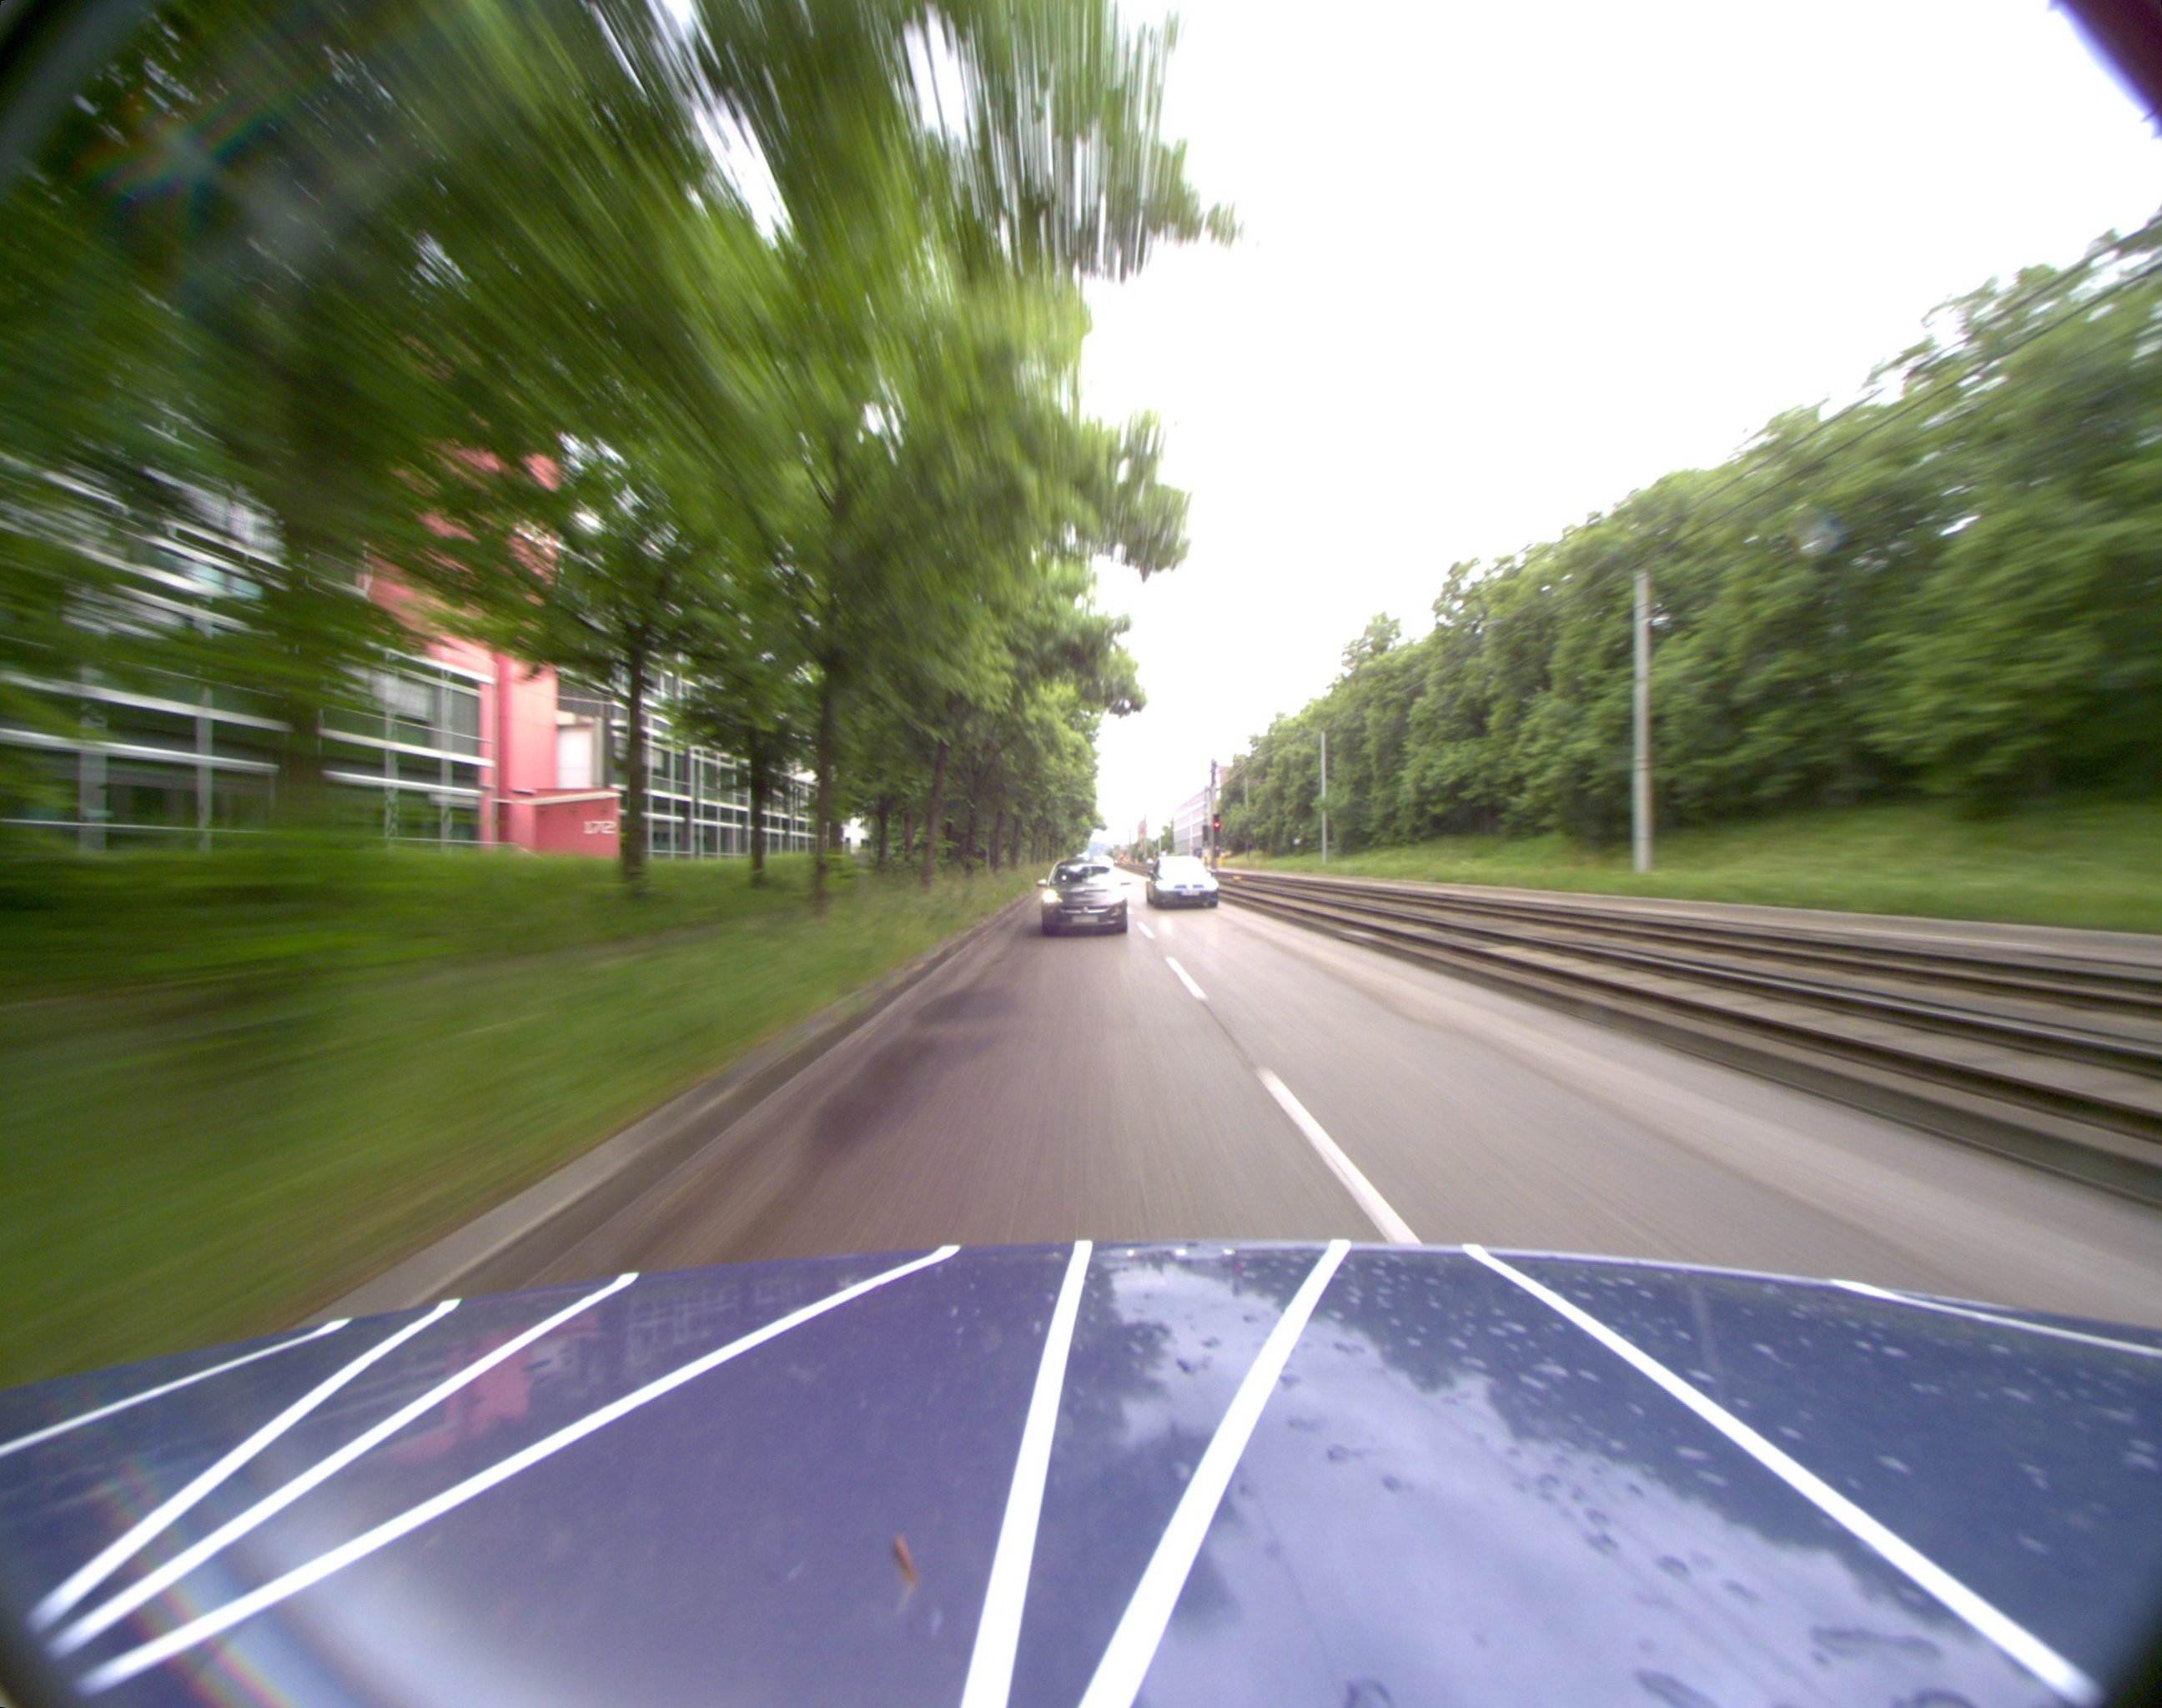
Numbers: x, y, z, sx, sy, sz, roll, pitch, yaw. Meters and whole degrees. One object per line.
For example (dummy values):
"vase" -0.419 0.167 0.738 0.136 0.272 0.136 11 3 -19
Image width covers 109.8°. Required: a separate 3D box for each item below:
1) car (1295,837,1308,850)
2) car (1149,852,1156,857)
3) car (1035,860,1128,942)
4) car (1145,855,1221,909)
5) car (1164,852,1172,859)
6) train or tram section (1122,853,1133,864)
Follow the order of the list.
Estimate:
"car" 33.249 -1.566 114.522 1.963 2.002 4.222 0 0 17
"car" 22.035 0.154 234.130 1.657 1.520 4.380 0 0 1
"car" 0.067 0.900 16.449 1.698 1.439 4.420 -2 0 2
"car" 2.949 0.777 22.634 1.770 1.439 3.833 -1 0 0
"car" 19.138 0.263 167.355 1.480 1.427 3.909 1 0 1
"train or tram section" 16.331 1.593 267.363 2.975 3.788 19.522 -1 0 1
